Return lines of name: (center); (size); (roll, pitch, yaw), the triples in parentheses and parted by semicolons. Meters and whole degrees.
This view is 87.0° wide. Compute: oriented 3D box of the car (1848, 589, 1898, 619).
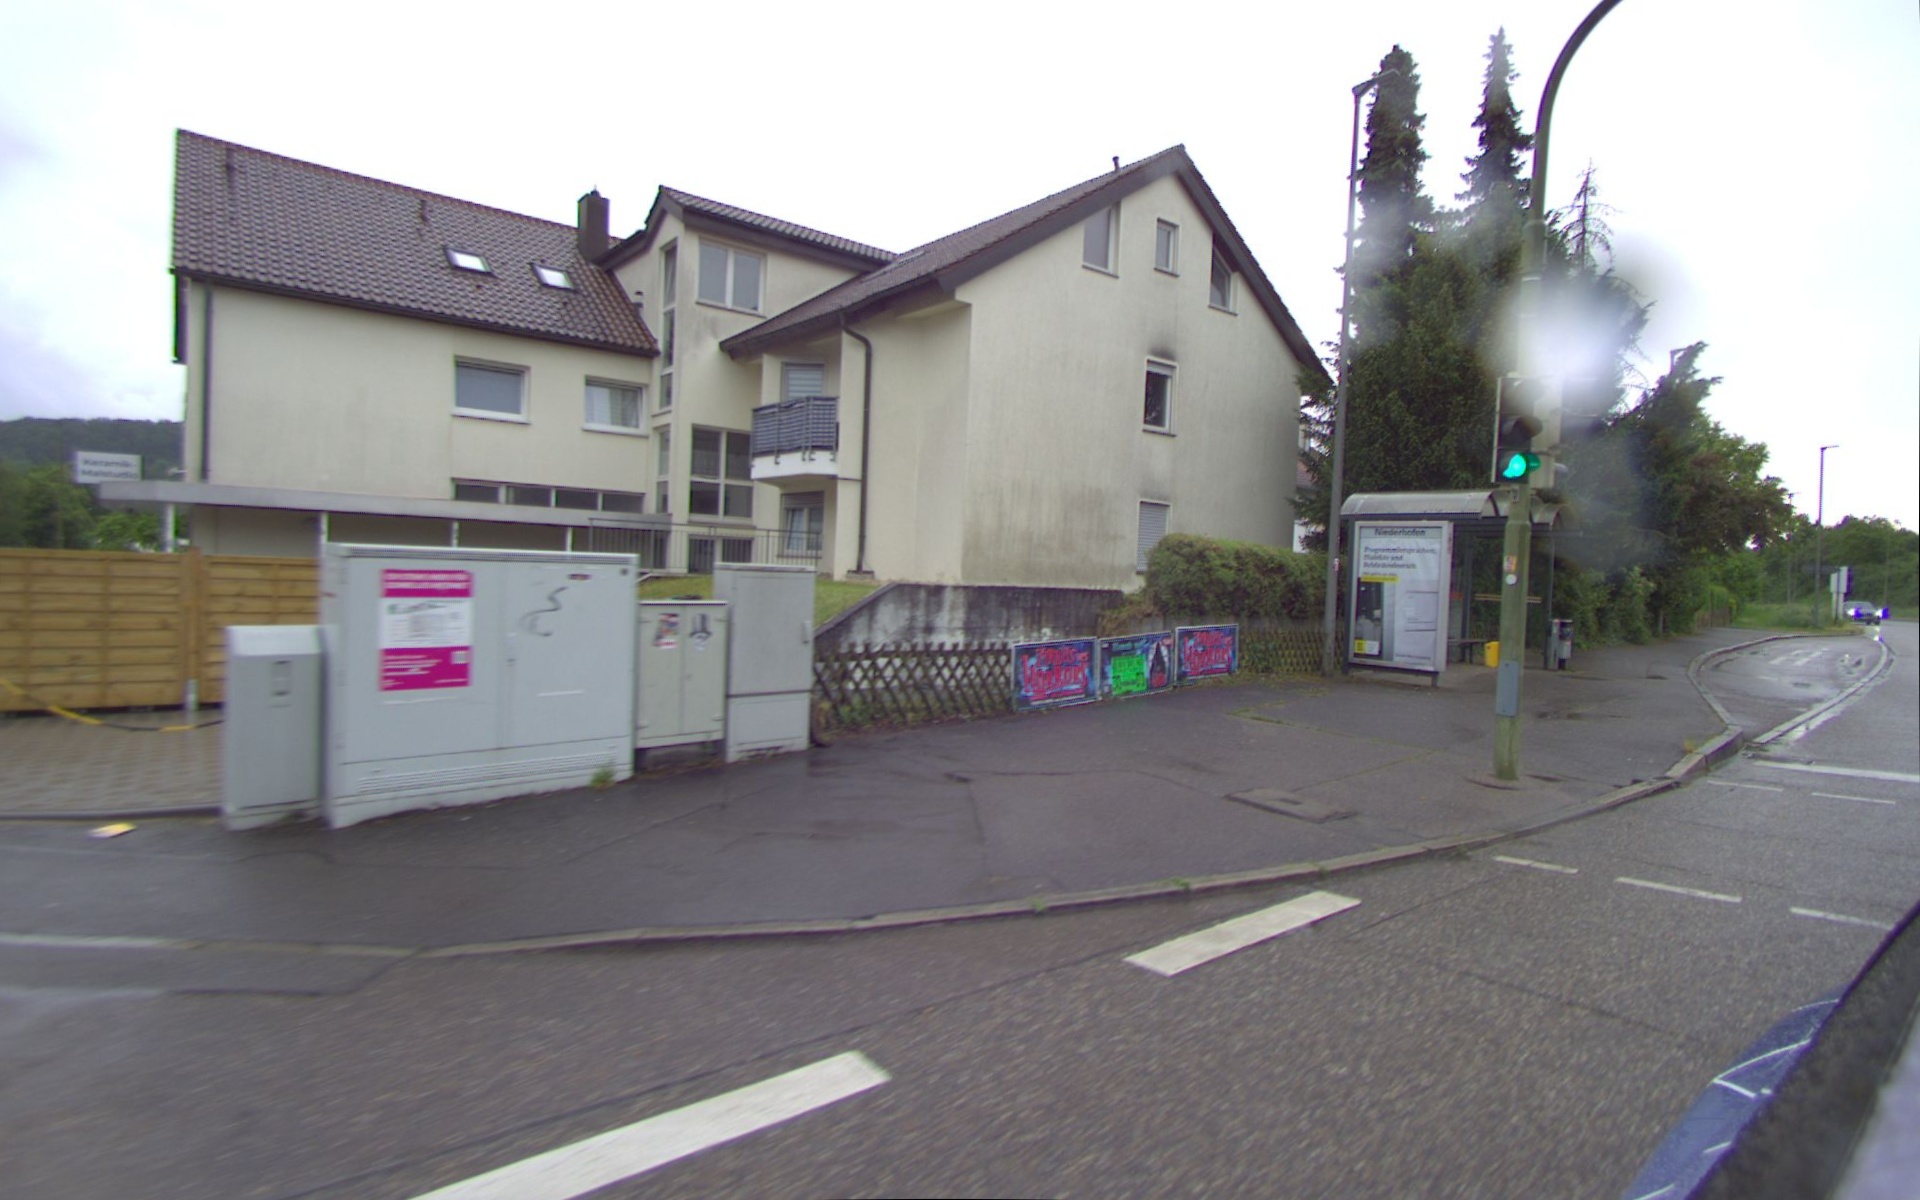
car: (60.180, 0.255, 66.789); (1.989, 1.864, 3.947); (3, 2, 36)

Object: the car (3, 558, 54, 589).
car: (-45.325, -1.313, 49.285); (1.570, 1.369, 3.578); (0, 2, -39)

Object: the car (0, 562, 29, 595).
car: (-42.451, -0.972, 44.629); (1.811, 1.369, 3.578); (0, 3, -39)
